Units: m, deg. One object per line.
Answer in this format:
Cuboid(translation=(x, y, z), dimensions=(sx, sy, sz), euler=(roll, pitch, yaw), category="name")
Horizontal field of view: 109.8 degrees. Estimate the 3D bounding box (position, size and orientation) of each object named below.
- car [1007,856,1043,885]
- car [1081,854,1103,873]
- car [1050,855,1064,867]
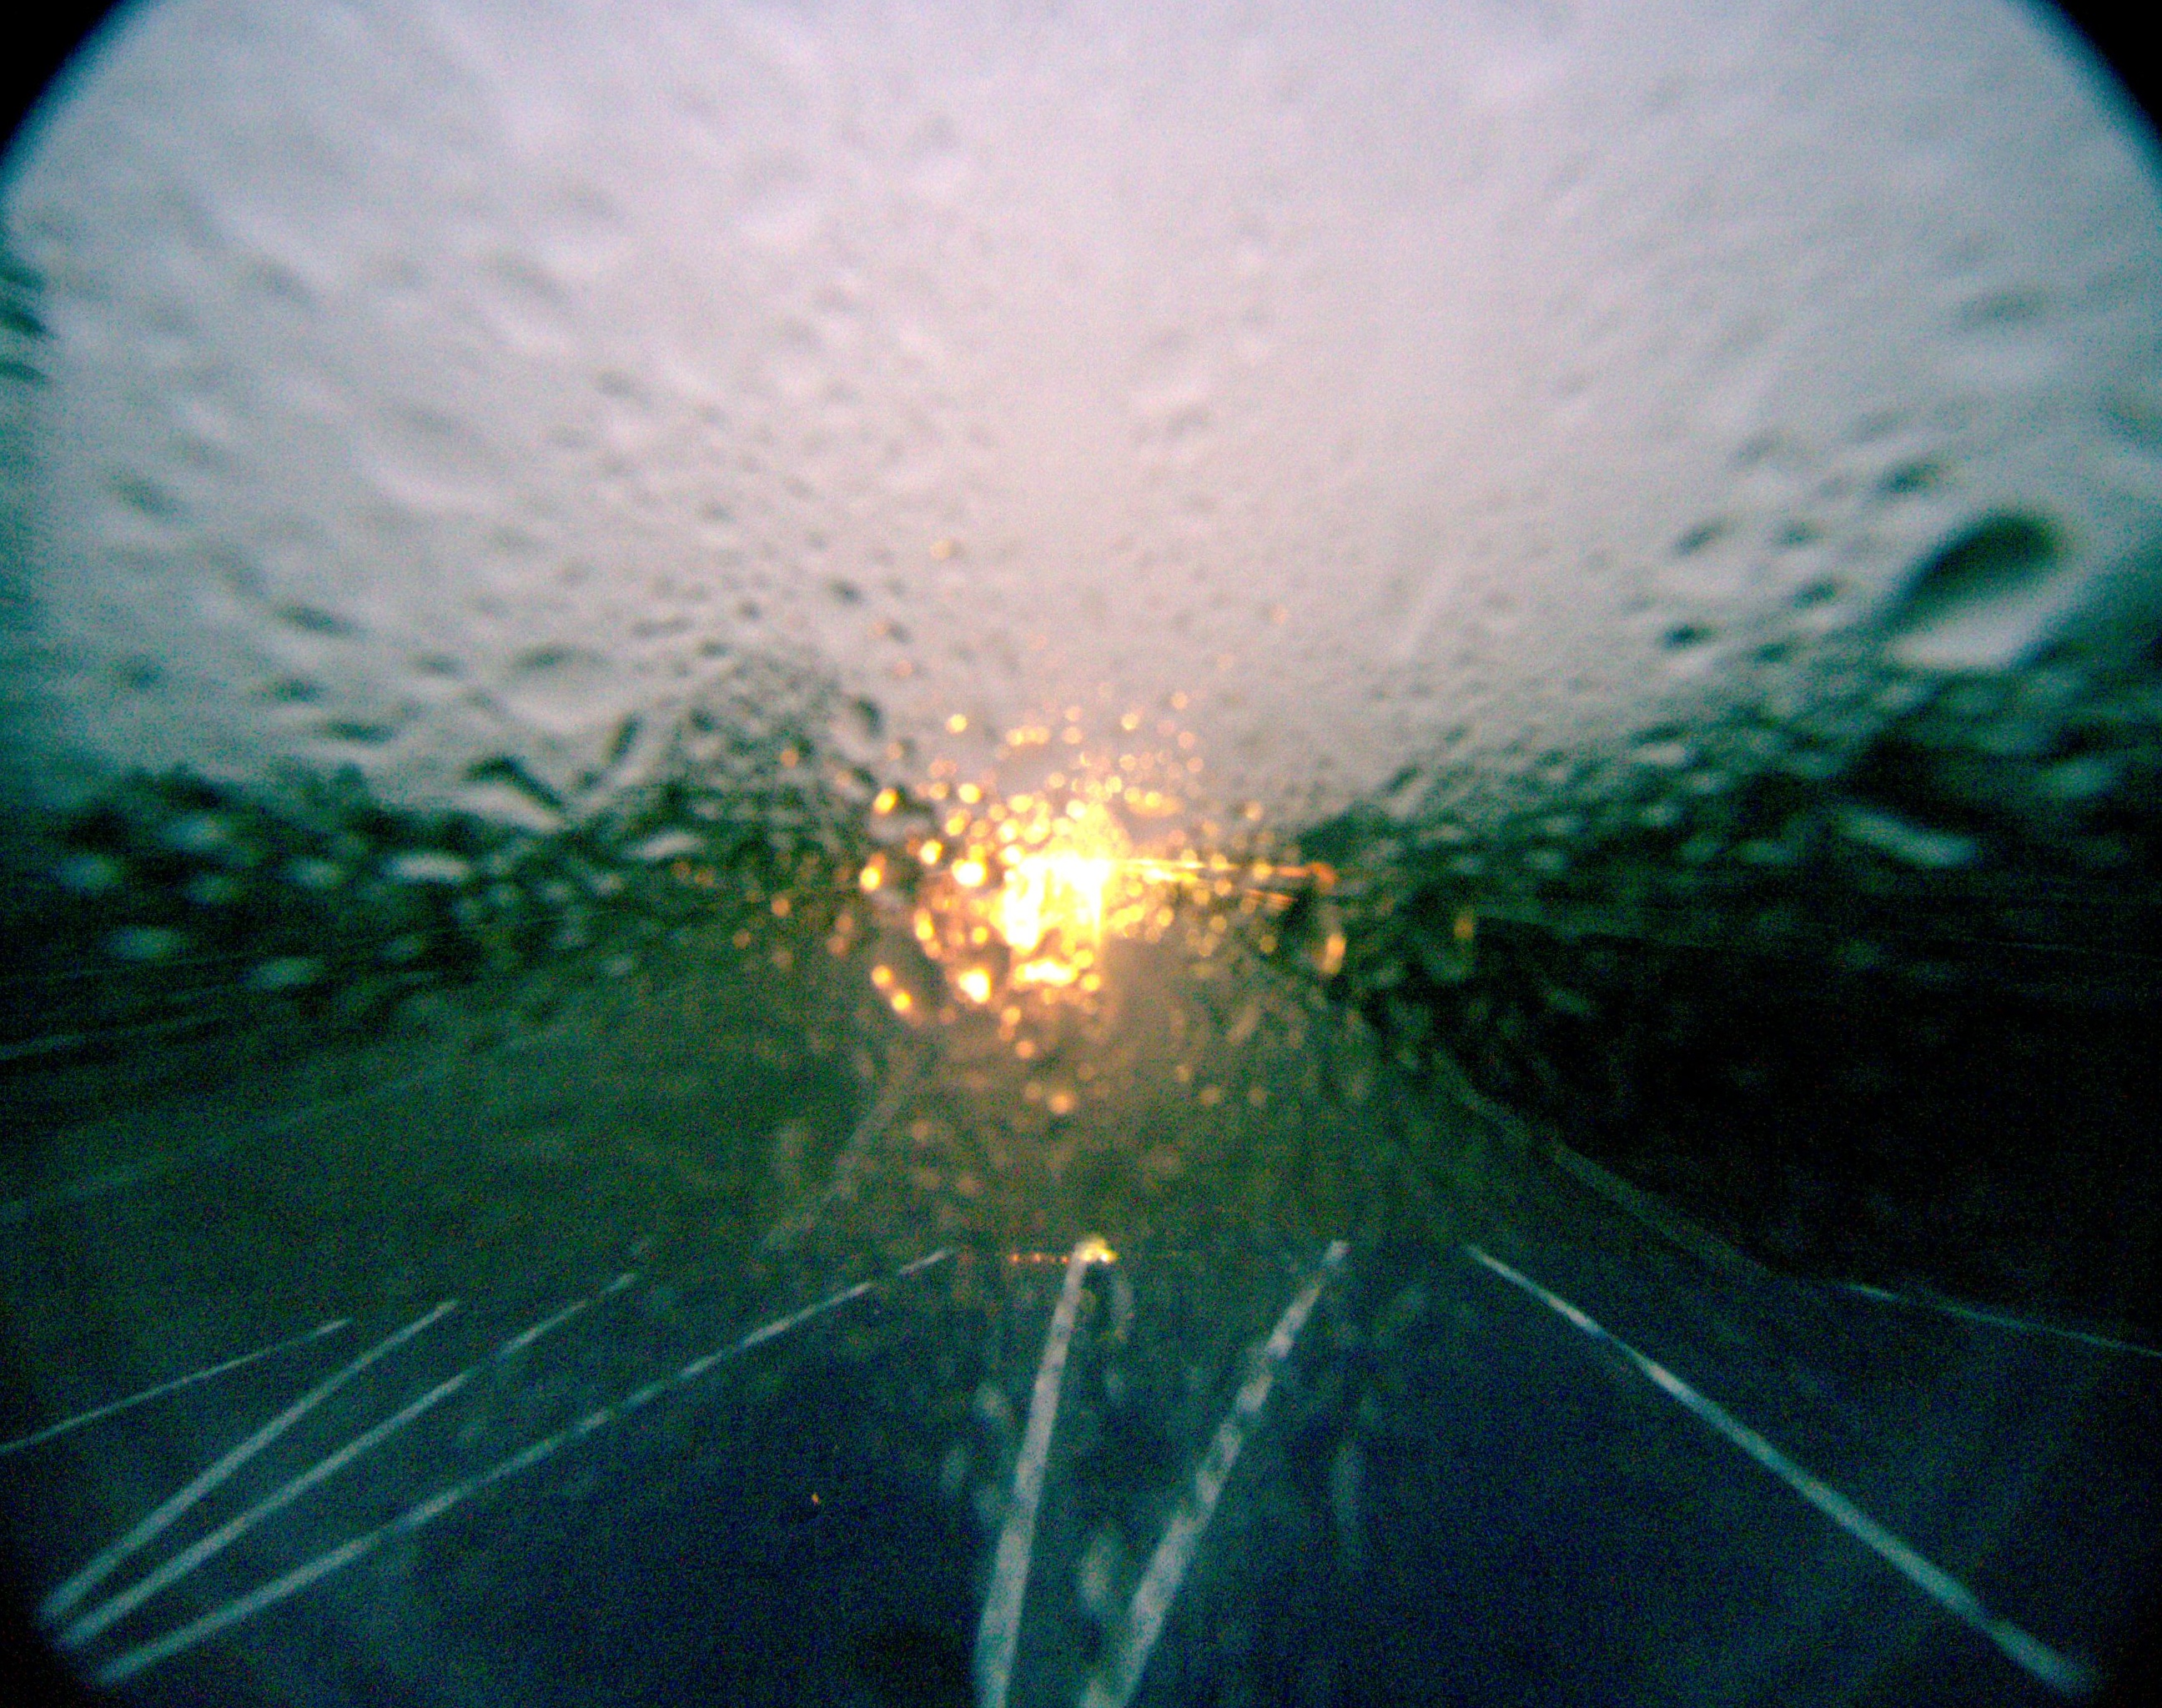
Cuboid(translation=(-2.973, 0.866, 40.954), dimensions=(1.632, 1.465, 4.000), euler=(-1, 0, 0), category="car")
Cuboid(translation=(0.861, 0.736, 59.738), dimensions=(1.632, 1.465, 4.000), euler=(-1, 0, 0), category="car")
Cuboid(translation=(-2.938, 0.845, 94.368), dimensions=(1.632, 1.465, 4.000), euler=(-1, 0, 0), category="car")
